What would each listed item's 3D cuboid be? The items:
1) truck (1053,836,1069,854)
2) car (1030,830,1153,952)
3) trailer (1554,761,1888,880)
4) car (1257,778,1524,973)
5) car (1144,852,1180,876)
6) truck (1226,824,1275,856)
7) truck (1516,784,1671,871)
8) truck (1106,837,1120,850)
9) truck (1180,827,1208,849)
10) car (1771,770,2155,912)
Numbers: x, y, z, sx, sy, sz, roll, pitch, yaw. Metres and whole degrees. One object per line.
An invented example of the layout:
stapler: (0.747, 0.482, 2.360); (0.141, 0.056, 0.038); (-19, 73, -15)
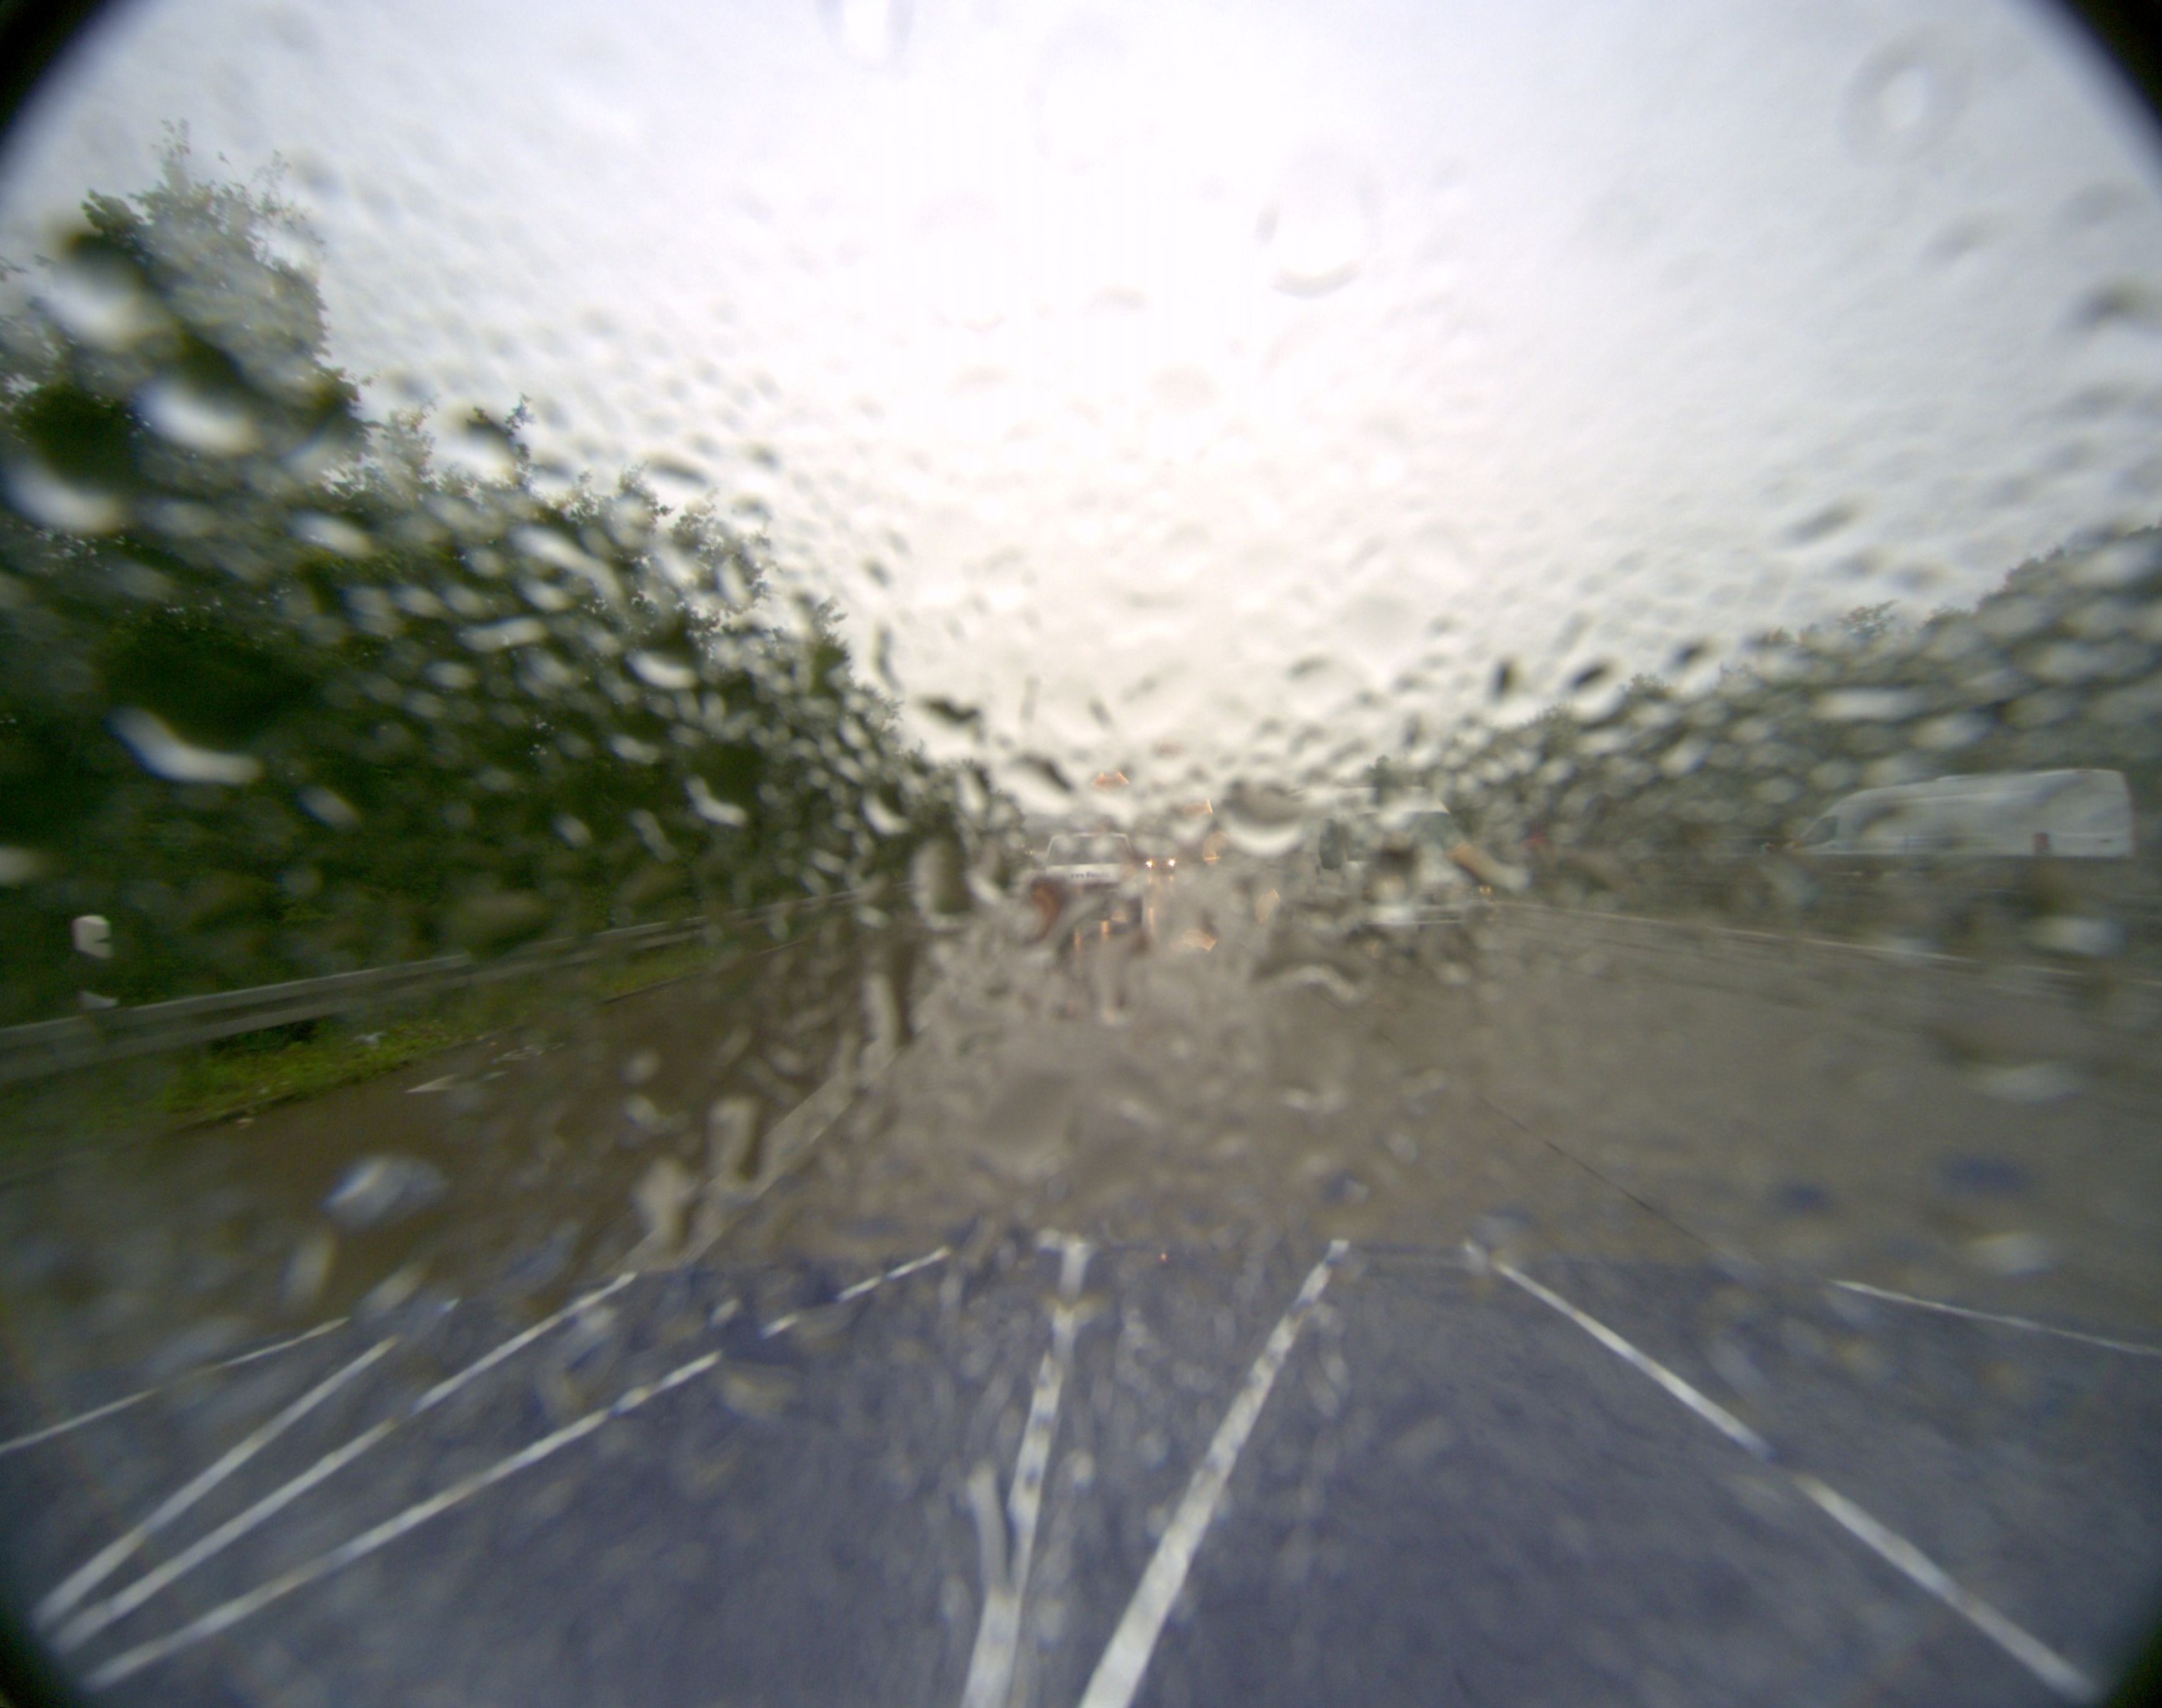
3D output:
truck: (-4.877, -2.126, 183.363); (3.060, 3.995, 10.039); (2, -1, -4)
car: (0.220, 0.576, 14.630); (1.904, 1.883, 5.043); (-2, 0, 1)
trailer: (24.998, -1.152, 31.346); (3.144, 3.834, 12.870); (-1, 1, 1)
car: (4.593, 0.256, 12.521); (2.003, 2.418, 5.790); (-2, 0, 0)
car: (5.165, 0.617, 49.020); (1.745, 1.380, 4.320); (0, 1, -1)
truck: (24.309, -1.927, 110.128); (3.132, 4.220, 16.368); (-2, 0, -1)
truck: (25.130, -1.225, 37.741); (3.144, 3.834, 6.886); (-1, 1, 1)
truck: (11.341, -3.753, 268.270); (3.691, 4.280, 13.292); (-1, 0, -2)
truck: (22.381, -3.056, 150.943); (3.132, 4.220, 13.538); (-2, 0, -1)
car: (21.263, -0.286, 19.029); (2.093, 2.883, 6.533); (-2, 0, 1)
